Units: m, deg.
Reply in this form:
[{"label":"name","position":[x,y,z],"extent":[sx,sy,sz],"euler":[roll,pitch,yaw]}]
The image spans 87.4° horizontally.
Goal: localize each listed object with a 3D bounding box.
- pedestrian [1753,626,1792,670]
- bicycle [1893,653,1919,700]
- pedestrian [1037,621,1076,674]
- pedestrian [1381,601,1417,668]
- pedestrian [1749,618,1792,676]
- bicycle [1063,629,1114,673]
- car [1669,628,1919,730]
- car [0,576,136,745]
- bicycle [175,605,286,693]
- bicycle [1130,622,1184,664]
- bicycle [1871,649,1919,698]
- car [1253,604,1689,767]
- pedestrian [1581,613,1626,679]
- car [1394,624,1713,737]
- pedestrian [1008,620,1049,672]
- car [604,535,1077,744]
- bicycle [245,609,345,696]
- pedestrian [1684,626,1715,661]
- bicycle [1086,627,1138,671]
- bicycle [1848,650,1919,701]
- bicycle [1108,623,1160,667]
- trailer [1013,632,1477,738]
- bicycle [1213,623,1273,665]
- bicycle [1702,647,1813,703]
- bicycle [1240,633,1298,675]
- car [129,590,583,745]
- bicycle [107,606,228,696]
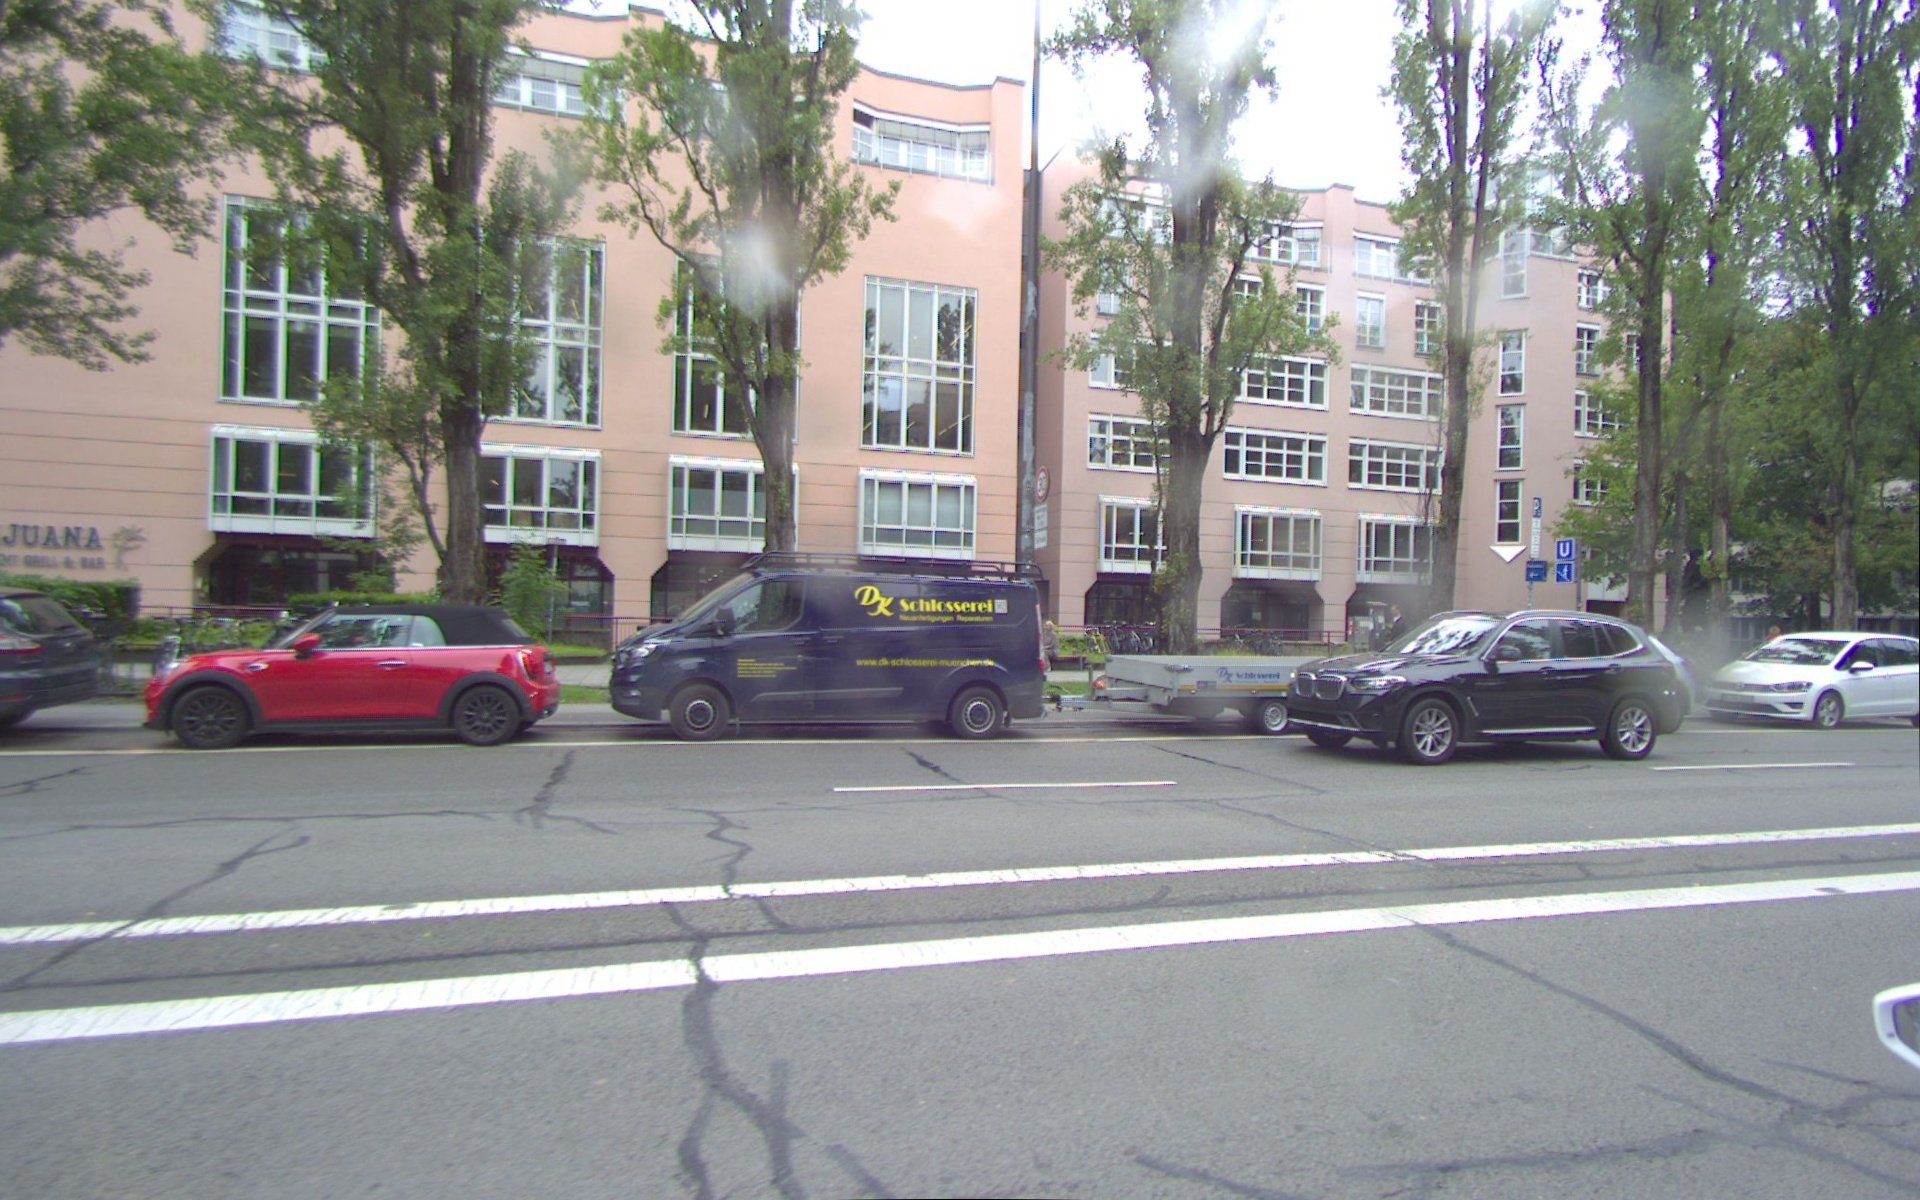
[{"label":"pedestrian","position":[31.972,1.873,39.514],"extent":[0.882,1.684,0.814],"euler":[2,-1,-16]},{"label":"bicycle","position":[24.271,1.911,24.635],"extent":[0.665,1.139,1.982],"euler":[1,0,-16]},{"label":"pedestrian","position":[2.299,1.123,23.871],"extent":[0.695,1.203,0.731],"euler":[1,-1,22]},{"label":"pedestrian","position":[11.003,0.857,25.185],"extent":[0.645,1.626,0.559],"euler":[1,0,3]},{"label":"pedestrian","position":[24.812,1.418,30.747],"extent":[0.720,1.736,0.707],"euler":[2,0,-16]},{"label":"bicycle","position":[3.566,1.414,28.031],"extent":[0.665,1.139,1.982],"euler":[1,0,-16]},{"label":"car","position":[14.810,1.320,17.351],"extent":[4.255,1.562,1.993],"euler":[2,-1,-17]},{"label":"car","position":[-10.992,0.503,9.495],"extent":[4.549,1.549,1.787],"euler":[2,-1,-17]},{"label":"bicycle","position":[-10.094,0.644,13.972],"extent":[0.665,1.139,1.736],"euler":[1,0,-16]},{"label":"bicycle","position":[5.618,1.213,28.767],"extent":[0.665,1.139,1.982],"euler":[1,0,-16]},{"label":"bicycle","position":[23.523,1.801,24.413],"extent":[0.665,1.139,1.982],"euler":[1,0,-16]},{"label":"car","position":[5.971,0.940,11.863],"extent":[4.477,1.664,1.993],"euler":[1,-1,-17]},{"label":"pedestrian","position":[17.466,1.242,27.250],"extent":[0.720,1.736,0.707],"euler":[2,0,-16]},{"label":"car","position":[8.993,1.183,15.312],"extent":[4.163,1.562,1.801],"euler":[1,-2,-15]},{"label":"pedestrian","position":[1.599,1.076,23.650],"extent":[0.720,1.203,0.706],"euler":[2,-1,-19]},{"label":"car","position":[-1.453,0.495,12.455],"extent":[5.408,2.226,2.016],"euler":[2,0,-17]},{"label":"bicycle","position":[-9.349,0.714,14.186],"extent":[0.665,1.139,1.723],"euler":[1,0,-16]},{"label":"pedestrian","position":[35.851,2.101,48.723],"extent":[0.882,1.684,0.814],"euler":[2,-1,-16]},{"label":"bicycle","position":[4.254,1.362,28.283],"extent":[0.665,1.139,1.982],"euler":[1,0,-16]},{"label":"bicycle","position":[22.787,1.825,24.245],"extent":[0.665,1.139,1.982],"euler":[1,0,-16]},{"label":"bicycle","position":[4.921,1.259,28.531],"extent":[0.665,1.139,1.982],"euler":[1,0,-16]},{"label":"trailer","position":[3.940,1.143,14.149],"extent":[5.939,1.215,2.396],"euler":[2,-1,-16]},{"label":"bicycle","position":[8.251,1.271,29.409],"extent":[0.665,1.139,2.100],"euler":[1,0,-16]},{"label":"bicycle","position":[18.231,1.699,23.019],"extent":[0.665,1.139,1.982],"euler":[1,0,-16]},{"label":"bicycle","position":[9.054,1.558,29.523],"extent":[0.665,1.139,1.982],"euler":[1,0,-16]},{"label":"car","position":[-6.187,0.690,10.778],"extent":[3.808,1.468,1.673],"euler":[2,0,-14]},{"label":"bicycle","position":[-10.795,0.665,13.753],"extent":[0.665,1.139,1.736],"euler":[1,0,-16]}]
